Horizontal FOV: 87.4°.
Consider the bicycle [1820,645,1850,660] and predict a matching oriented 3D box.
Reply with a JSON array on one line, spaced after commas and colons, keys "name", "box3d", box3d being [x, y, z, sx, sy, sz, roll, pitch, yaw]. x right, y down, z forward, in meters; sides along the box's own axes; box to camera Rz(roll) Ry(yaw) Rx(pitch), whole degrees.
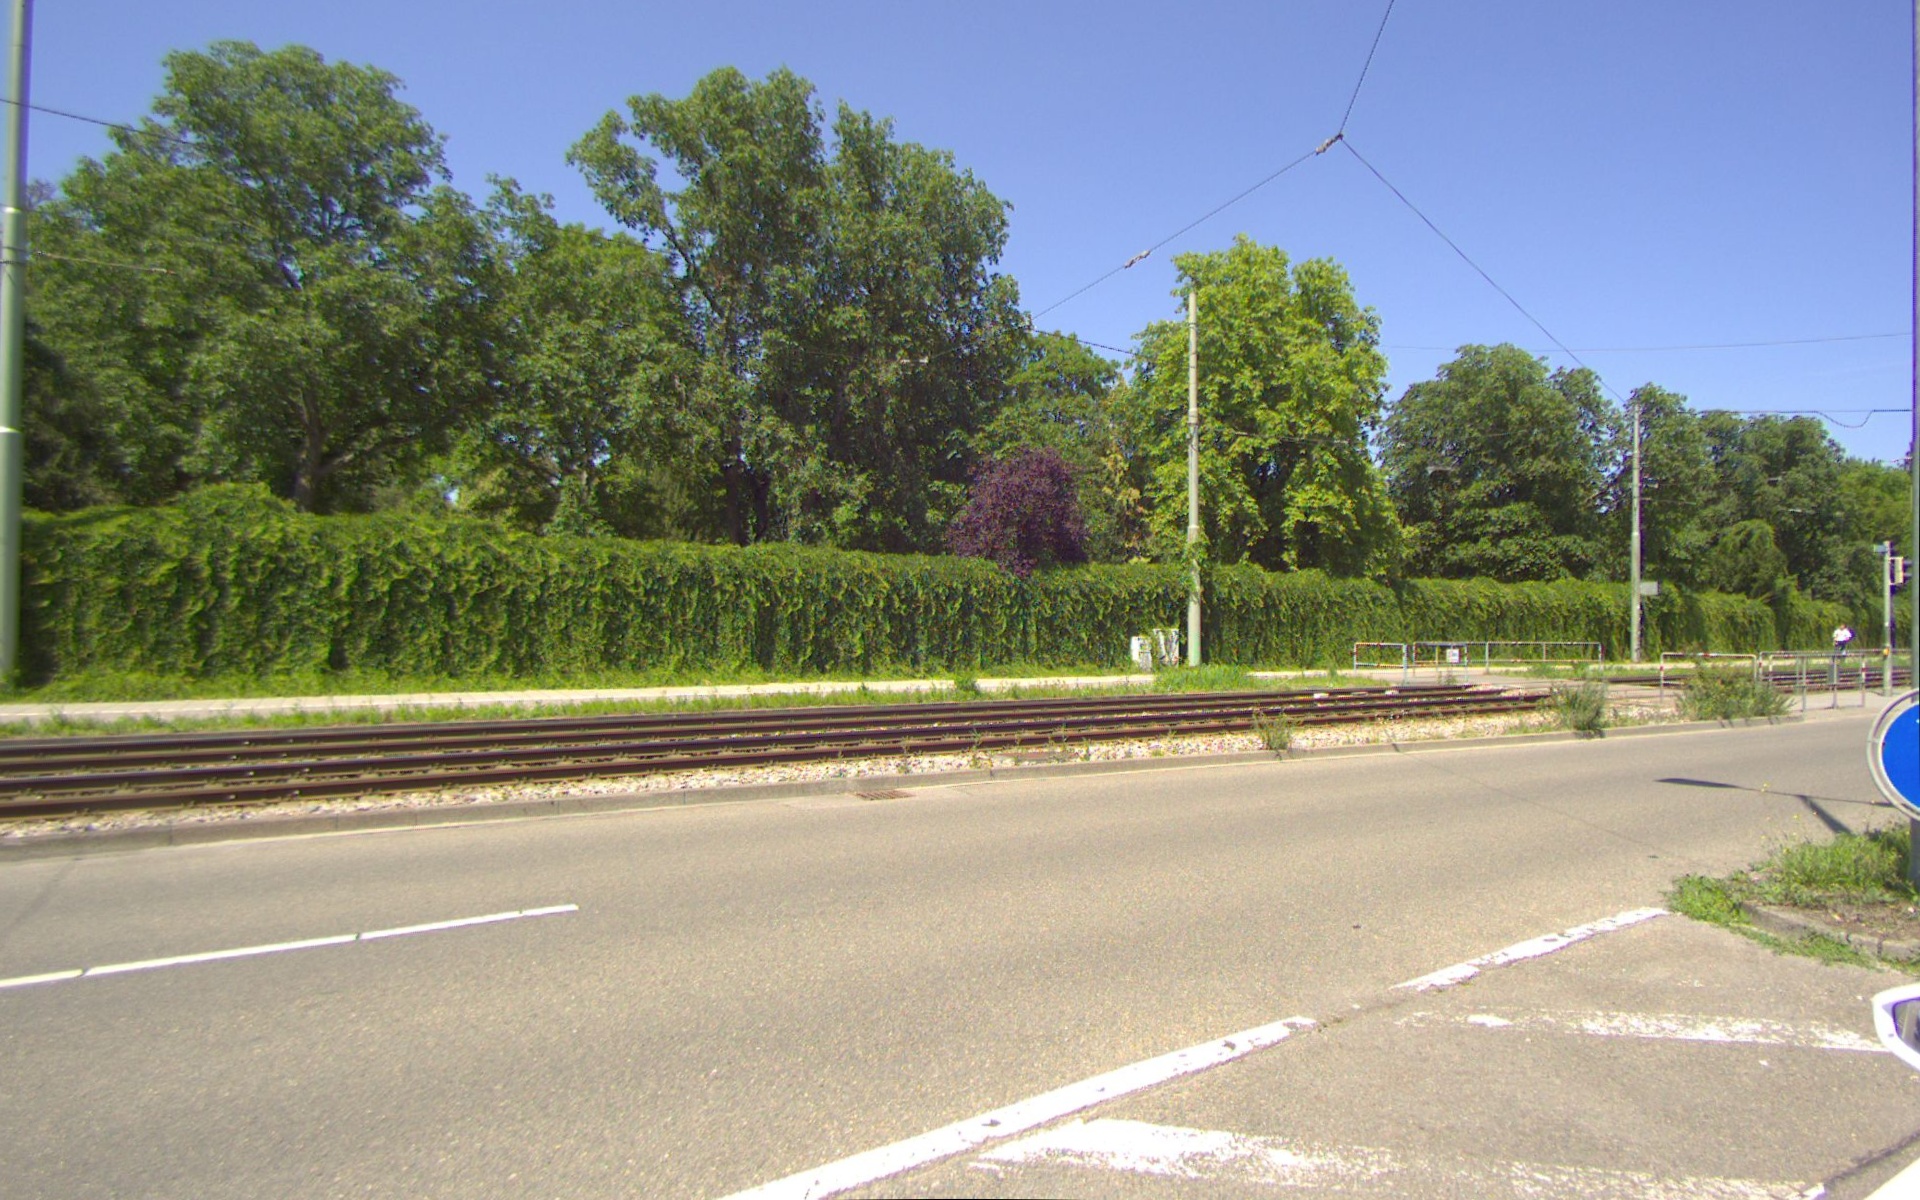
[{"name": "bicycle", "box3d": [41.168, 2.460, 47.280, 1.700, 0.656, 0.558, 1, -1, -30]}]

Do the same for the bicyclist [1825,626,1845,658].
[{"name": "bicyclist", "box3d": [41.248, 1.994, 47.340, 0.555, 1.497, 0.555, 1, -1, -30]}]
